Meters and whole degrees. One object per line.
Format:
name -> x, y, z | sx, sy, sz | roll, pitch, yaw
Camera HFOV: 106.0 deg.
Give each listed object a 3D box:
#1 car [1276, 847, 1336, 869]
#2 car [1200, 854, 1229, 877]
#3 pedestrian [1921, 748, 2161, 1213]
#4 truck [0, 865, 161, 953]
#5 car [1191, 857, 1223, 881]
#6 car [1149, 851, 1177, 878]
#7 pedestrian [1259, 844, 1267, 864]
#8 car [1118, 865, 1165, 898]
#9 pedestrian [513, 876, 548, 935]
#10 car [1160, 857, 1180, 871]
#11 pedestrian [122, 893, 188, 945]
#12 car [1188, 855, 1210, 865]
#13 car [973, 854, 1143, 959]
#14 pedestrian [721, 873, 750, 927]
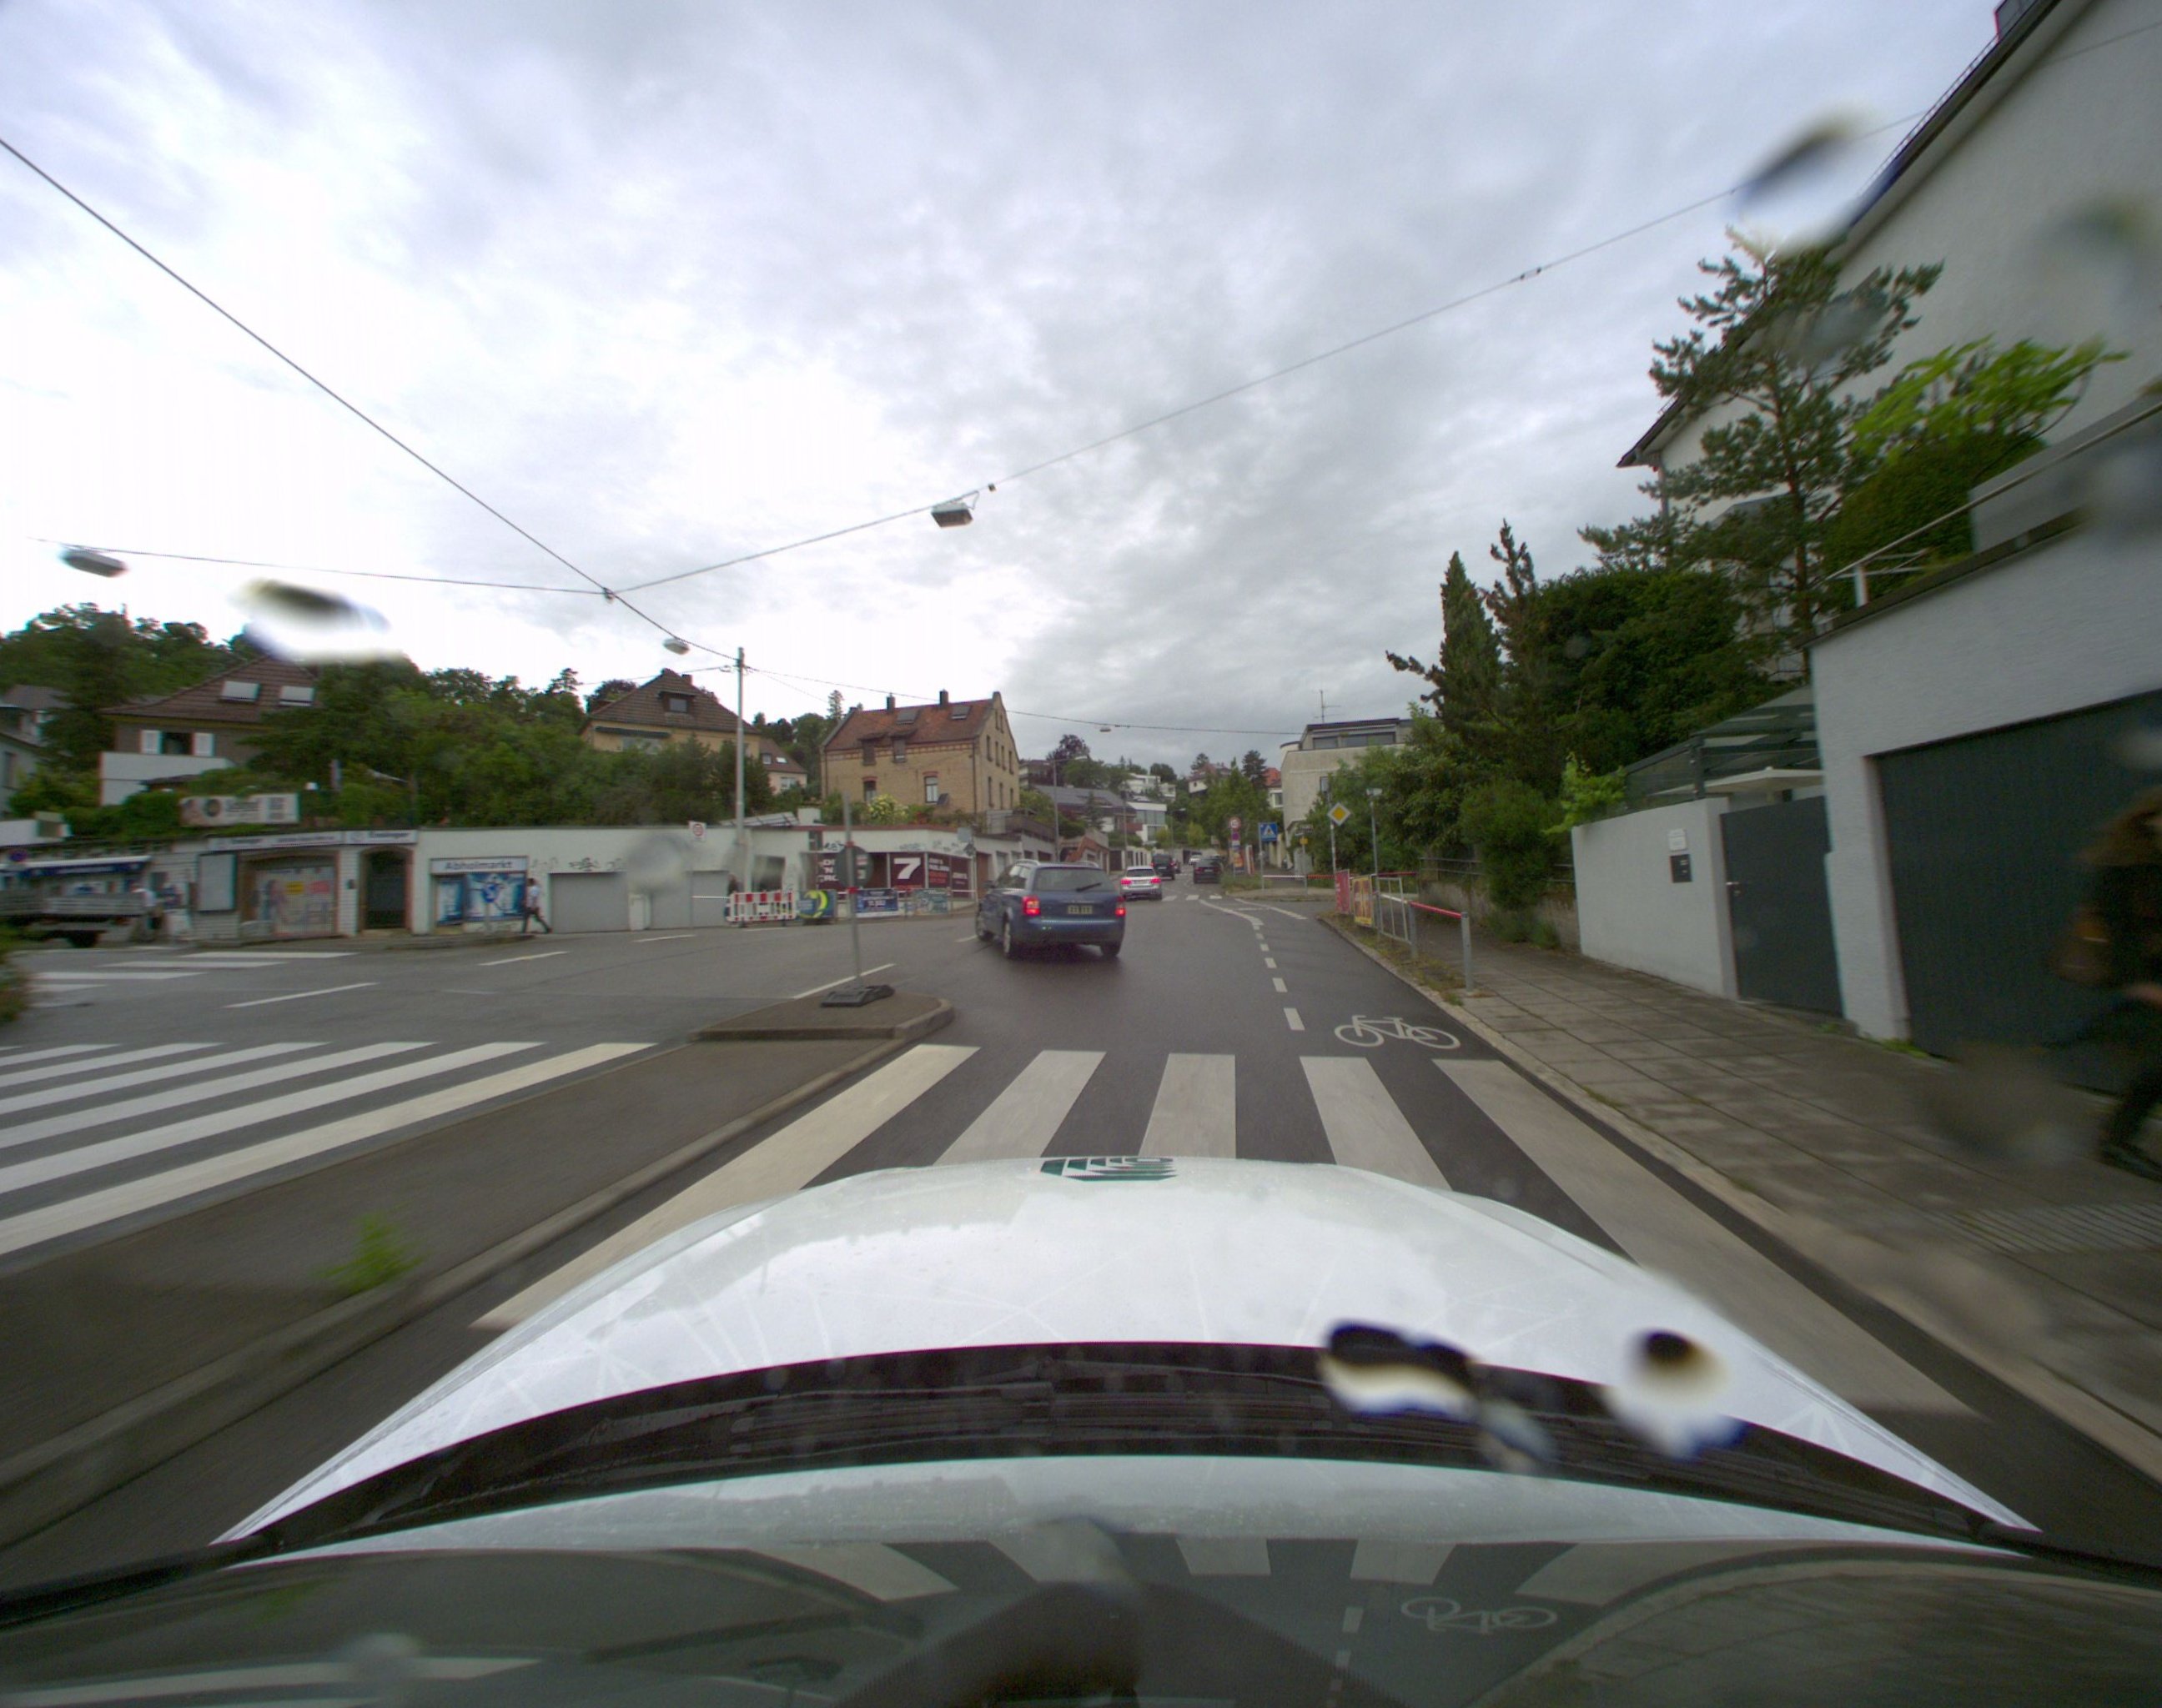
car -> 16.487, 0.303, 59.662 | 3.951, 1.415, 1.735 | -2, -1, 24
car -> 9.320, 0.788, 57.182 | 1.707, 1.450, 3.839 | -2, 0, 5
pedestrian -> 4.416, 0.454, 3.322 | 0.798, 1.722, 1.063 | -4, -1, 8
truck -> -30.092, 1.528, 22.672 | 6.754, 2.269, 2.318 | -1, -1, 5
car -> 7.982, 0.945, 51.928 | 1.762, 1.377, 4.356 | -2, 0, 6
car -> 5.906, 0.759, 58.347 | 1.814, 1.819, 4.007 | -2, 0, 7
pedestrian -> 17.084, -0.007, 76.347 | 0.635, 1.795, 0.746 | -2, -1, 7
car -> 2.575, 1.189, 35.494 | 1.805, 1.361, 3.999 | 0, -2, 1
pedestrian -> -17.267, 1.598, 25.559 | 0.706, 1.806, 0.804 | 0, -1, -17
car -> 8.544, 0.950, 78.006 | 1.814, 1.296, 4.008 | -2, 0, 7
pedestrian -> -28.061, 1.963, 24.689 | 0.970, 1.505, 0.892 | 0, -1, 7
car -> 18.773, 0.950, 129.856 | 1.711, 1.606, 3.570 | -2, -1, 42
car -> -0.548, 0.754, 13.294 | 1.815, 1.439, 4.059 | 1, -1, -16
pedestrian -> -11.084, 1.478, 26.095 | 0.618, 1.689, 0.587 | -5, -3, 44
